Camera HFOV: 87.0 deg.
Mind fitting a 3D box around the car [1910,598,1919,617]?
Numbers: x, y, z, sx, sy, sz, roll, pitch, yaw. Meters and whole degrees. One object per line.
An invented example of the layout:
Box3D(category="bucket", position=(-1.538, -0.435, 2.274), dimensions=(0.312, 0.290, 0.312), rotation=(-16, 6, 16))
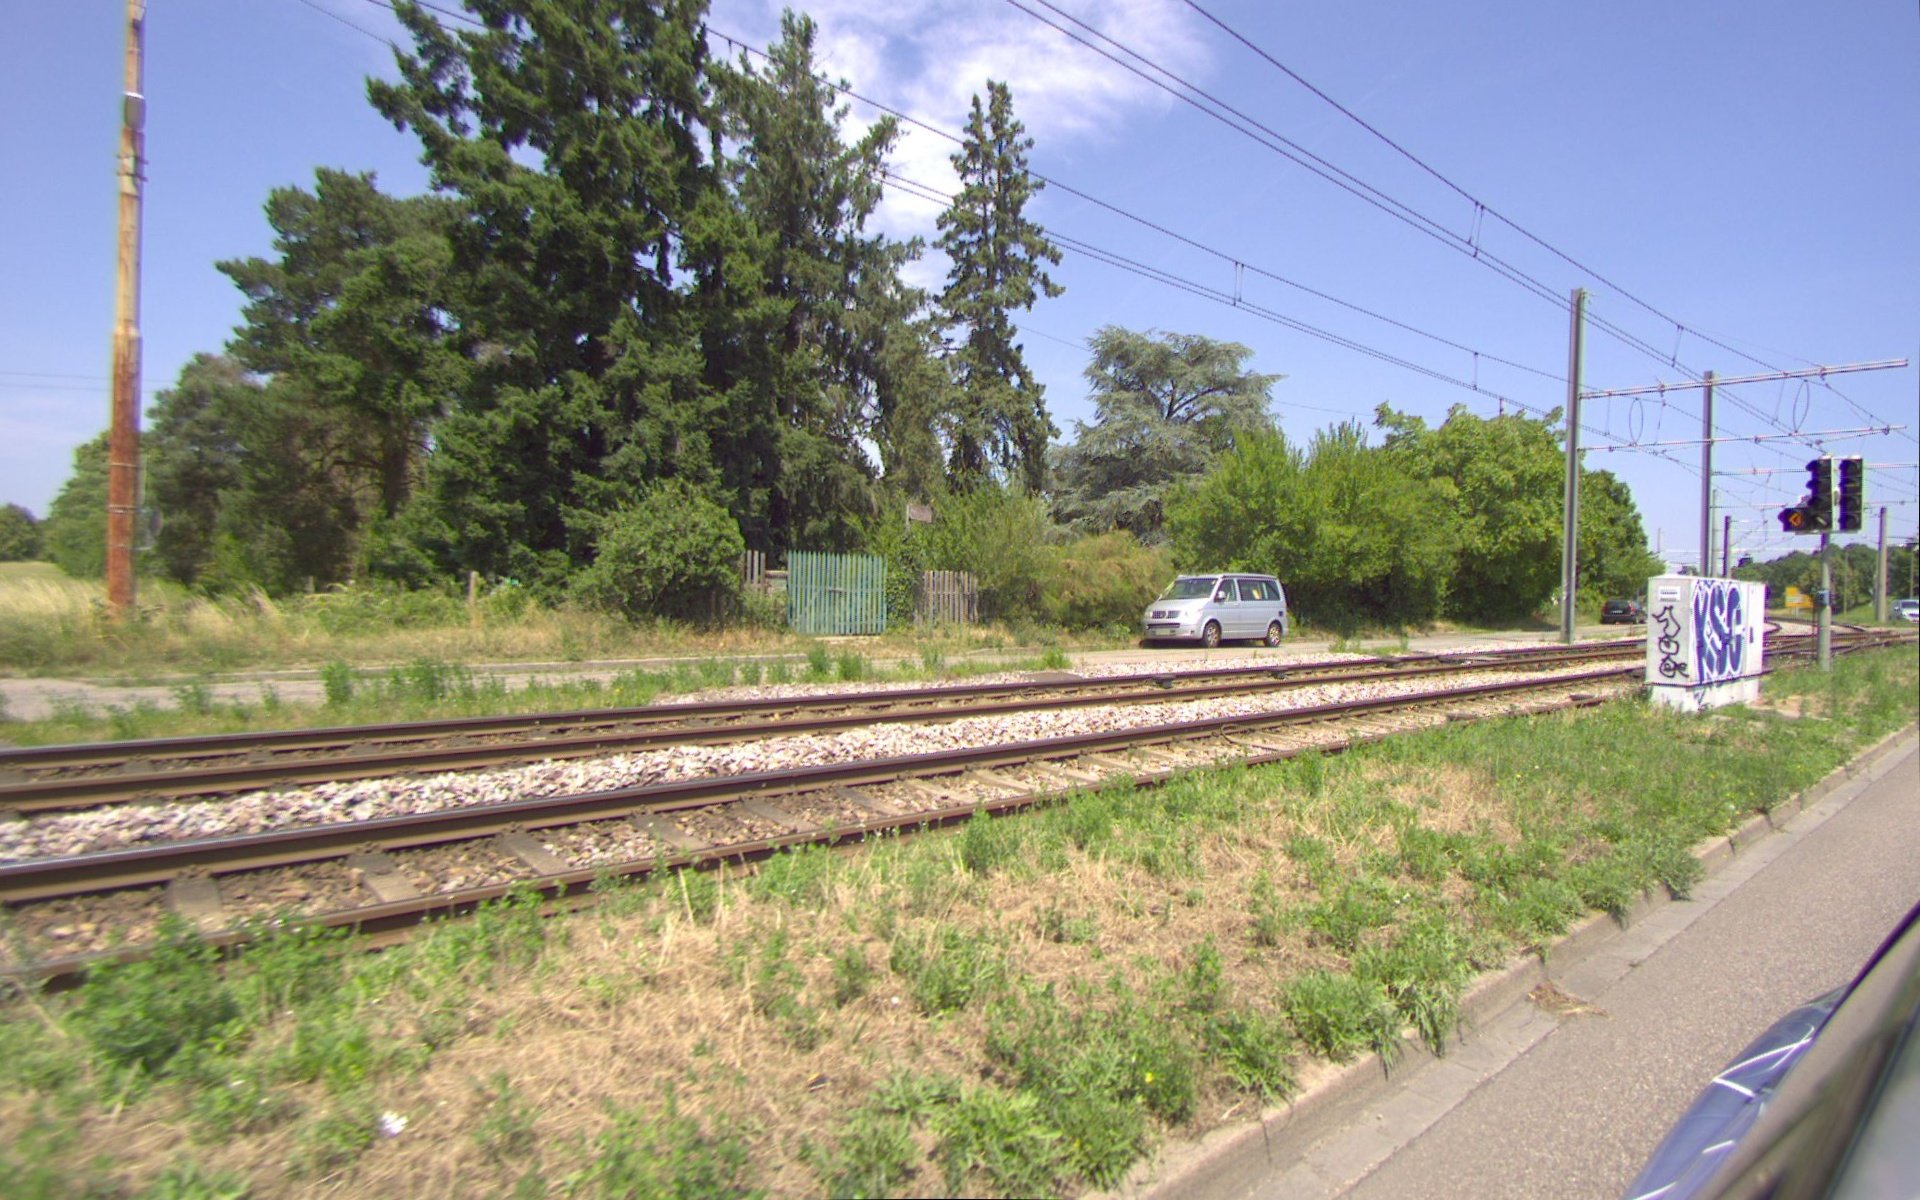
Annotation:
Box3D(category="car", position=(68.062, 0.549, 71.168), dimensions=(1.626, 1.265, 3.117), rotation=(2, 2, 40))

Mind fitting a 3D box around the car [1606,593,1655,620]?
Box3D(category="car", position=(40.537, 0.368, 61.126), dimensions=(1.795, 1.444, 4.669), rotation=(2, 2, 41))

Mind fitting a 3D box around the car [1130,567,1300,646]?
Box3D(category="car", position=(6.859, 0.102, 26.901), dimensions=(4.985, 1.905, 2.038), rotation=(-1, 2, -44))
